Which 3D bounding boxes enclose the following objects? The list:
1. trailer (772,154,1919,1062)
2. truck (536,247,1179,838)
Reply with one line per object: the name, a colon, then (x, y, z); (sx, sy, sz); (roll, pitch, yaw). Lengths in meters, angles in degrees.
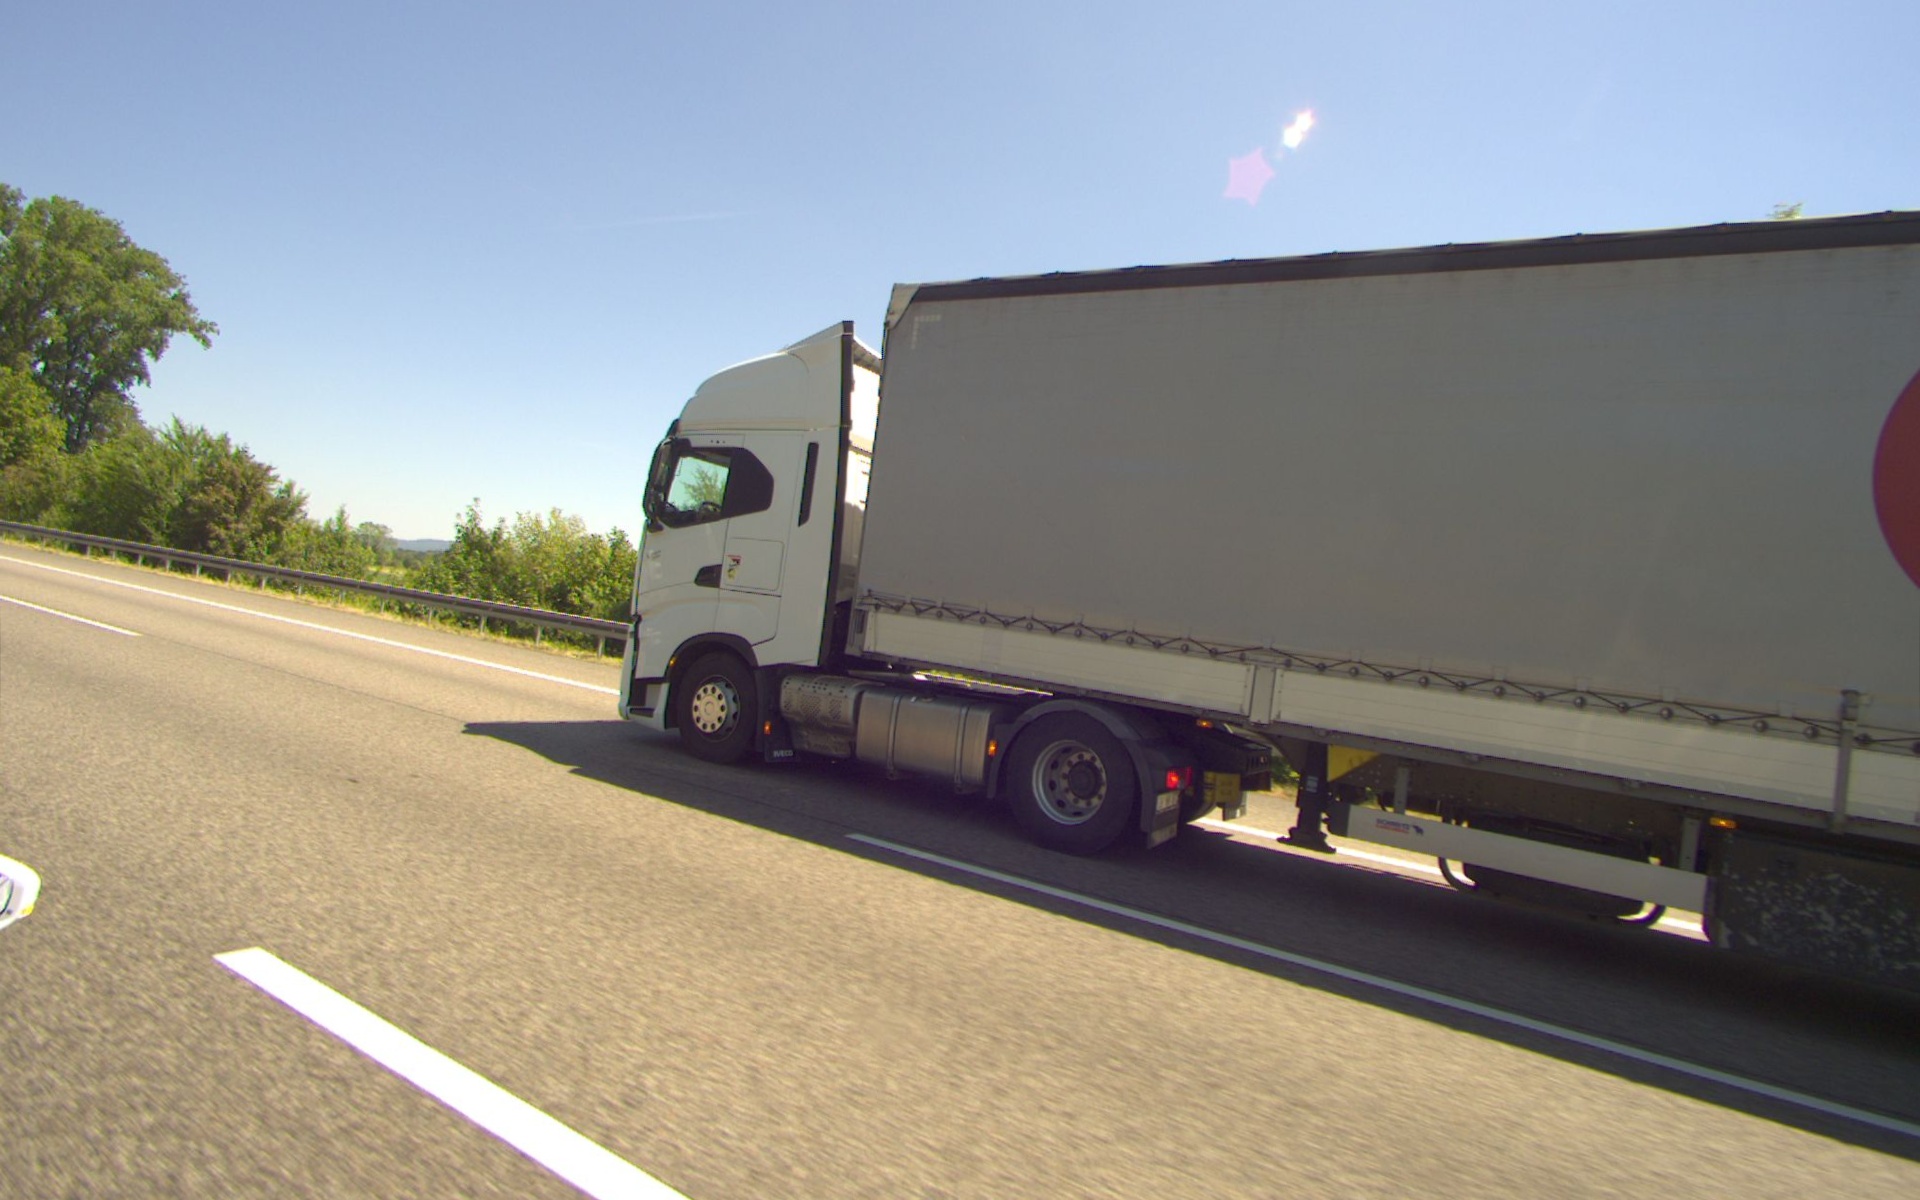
trailer: (5.181, 0.111, 5.925); (13.829, 4.310, 2.629); (6, -2, 32)
truck: (-1.089, -0.533, 9.862); (5.346, 4.337, 2.610); (6, -1, 32)
